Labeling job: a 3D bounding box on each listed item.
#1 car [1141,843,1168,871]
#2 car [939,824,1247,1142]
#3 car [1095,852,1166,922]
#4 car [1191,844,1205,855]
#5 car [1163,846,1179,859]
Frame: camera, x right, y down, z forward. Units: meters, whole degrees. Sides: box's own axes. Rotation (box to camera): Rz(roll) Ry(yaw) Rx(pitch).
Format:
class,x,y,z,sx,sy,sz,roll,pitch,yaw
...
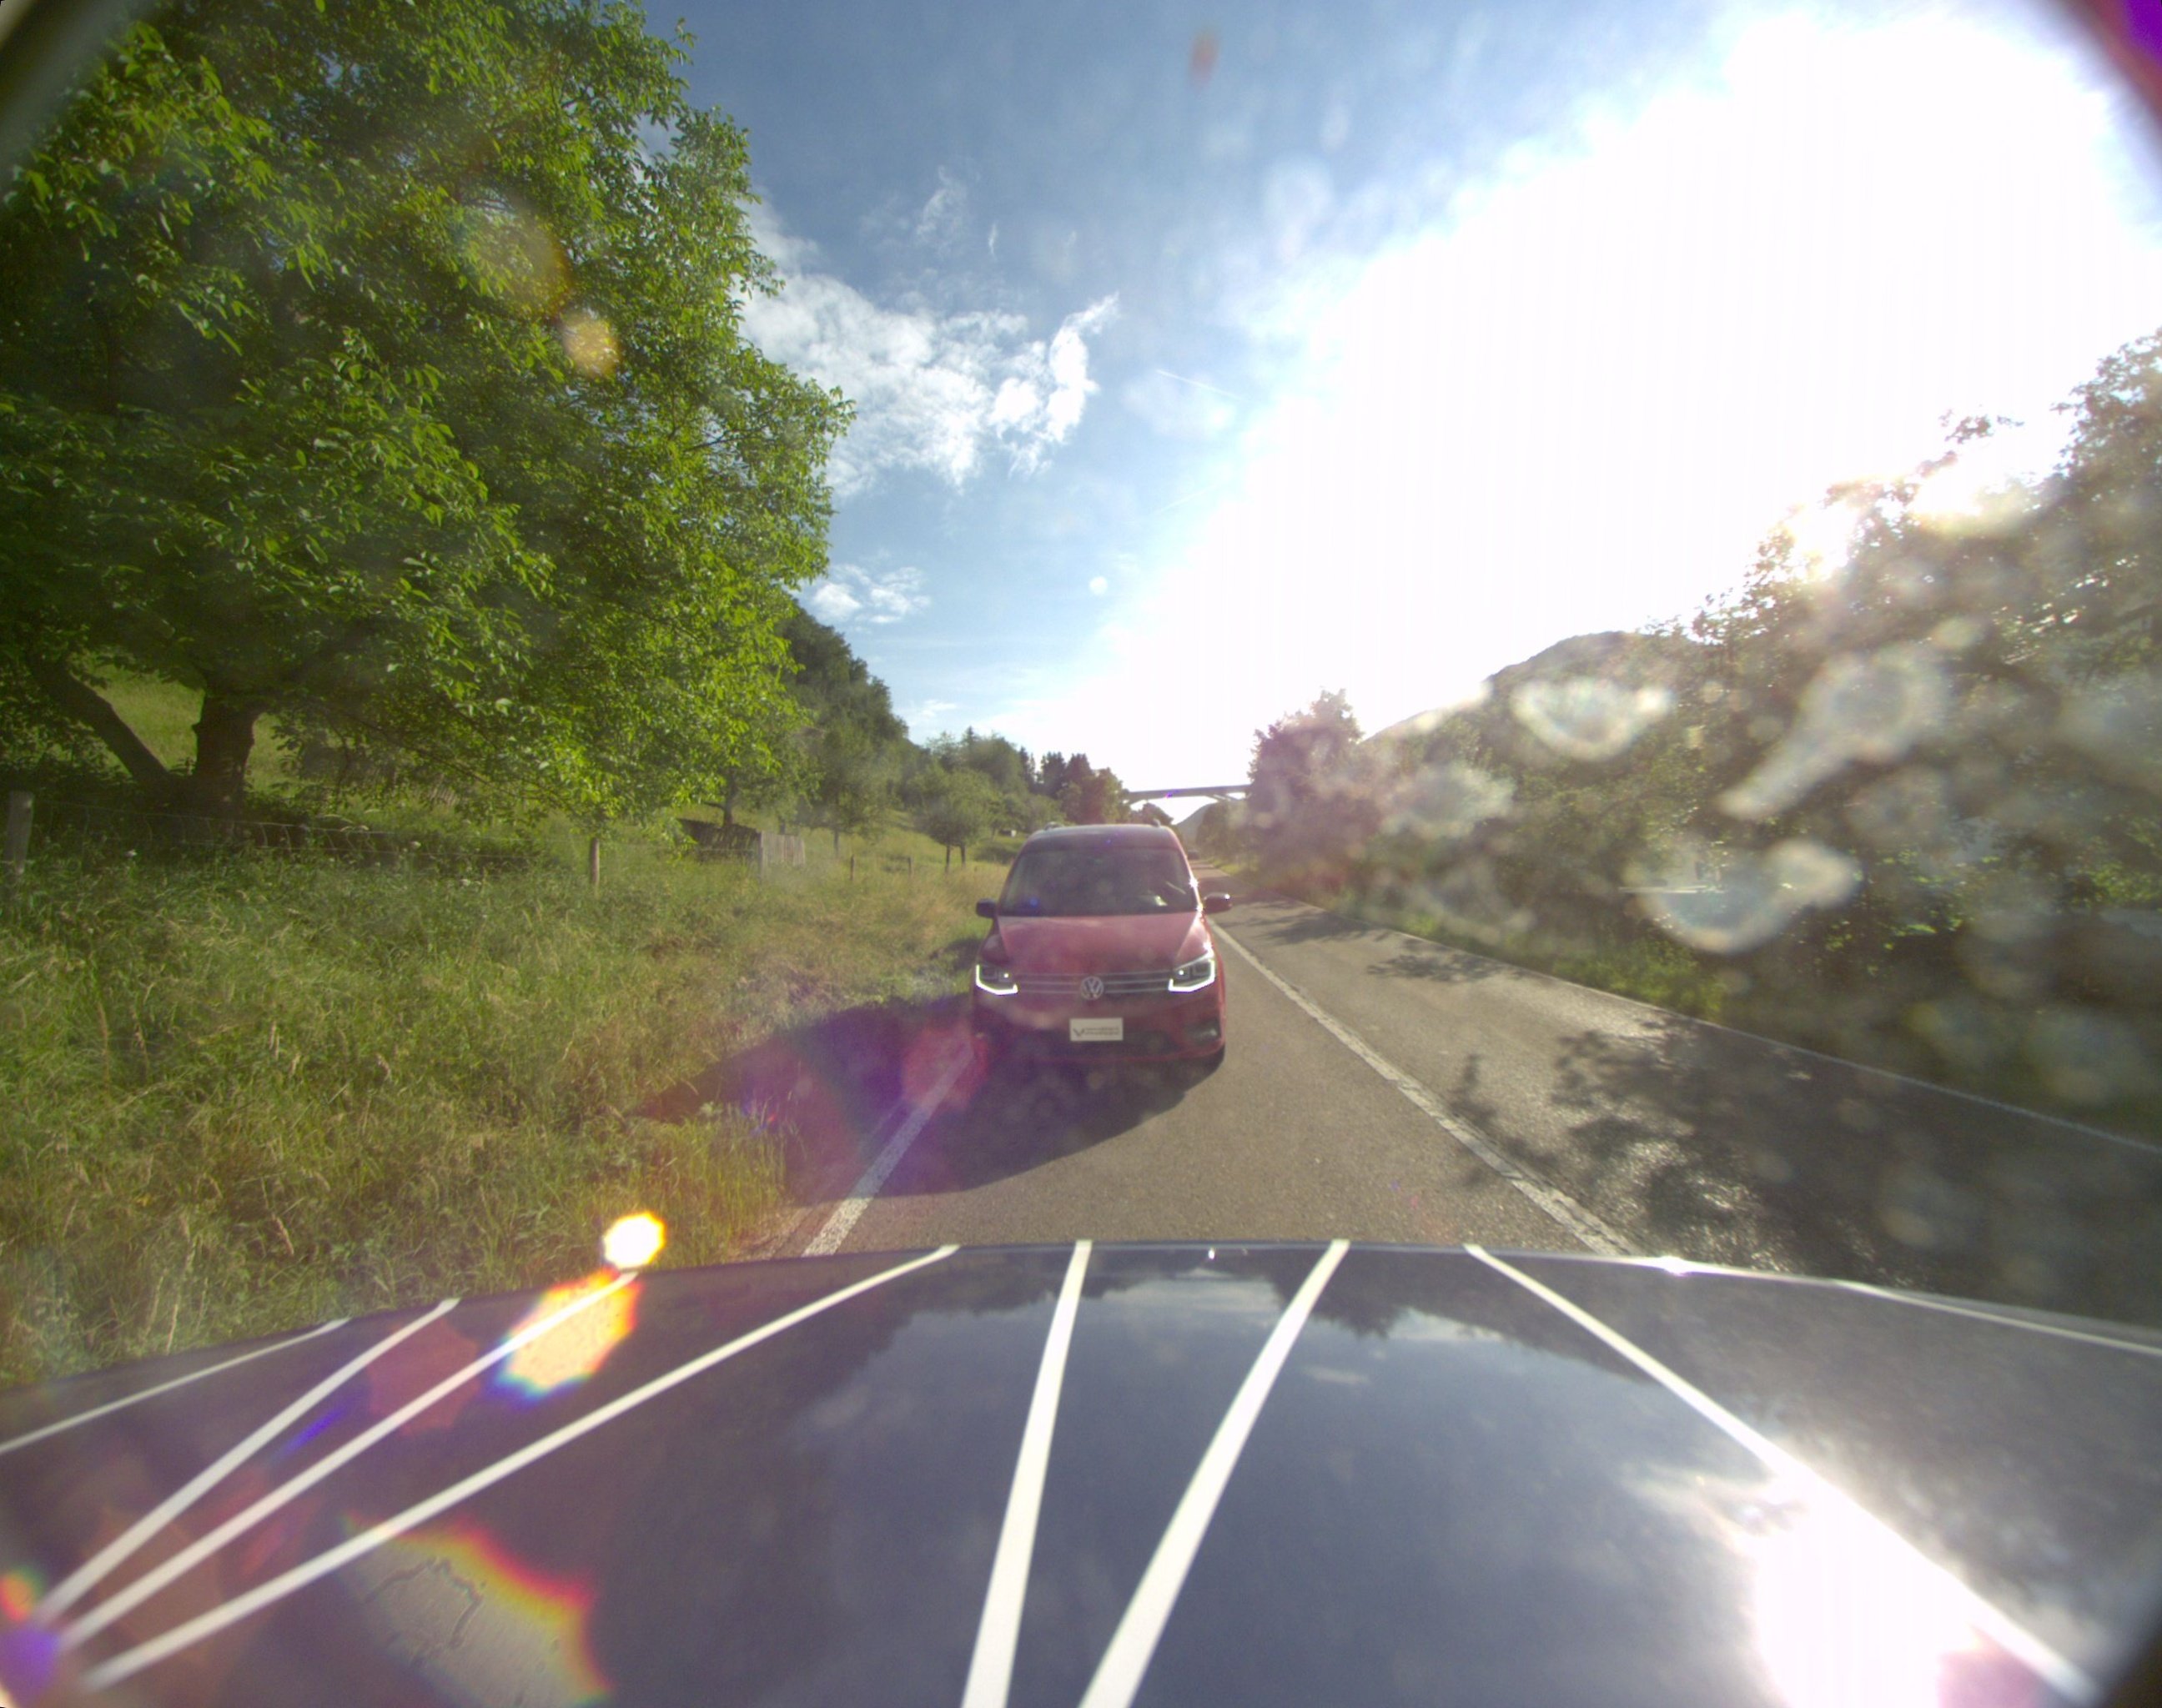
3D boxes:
class,x,y,z,sx,sy,sz,roll,pitch,yaw
car,5.473,0.177,56.712,1.914,2.002,4.002,-1,0,6
car,0.147,0.769,6.526,1.772,1.855,3.875,-3,1,2
car,1.240,0.744,18.845,1.571,1.575,3.527,-1,0,4
car,16.561,-0.645,107.728,1.817,1.608,3.807,-1,1,6
car,11.709,-0.198,98.979,1.817,1.608,4.003,-1,1,10
